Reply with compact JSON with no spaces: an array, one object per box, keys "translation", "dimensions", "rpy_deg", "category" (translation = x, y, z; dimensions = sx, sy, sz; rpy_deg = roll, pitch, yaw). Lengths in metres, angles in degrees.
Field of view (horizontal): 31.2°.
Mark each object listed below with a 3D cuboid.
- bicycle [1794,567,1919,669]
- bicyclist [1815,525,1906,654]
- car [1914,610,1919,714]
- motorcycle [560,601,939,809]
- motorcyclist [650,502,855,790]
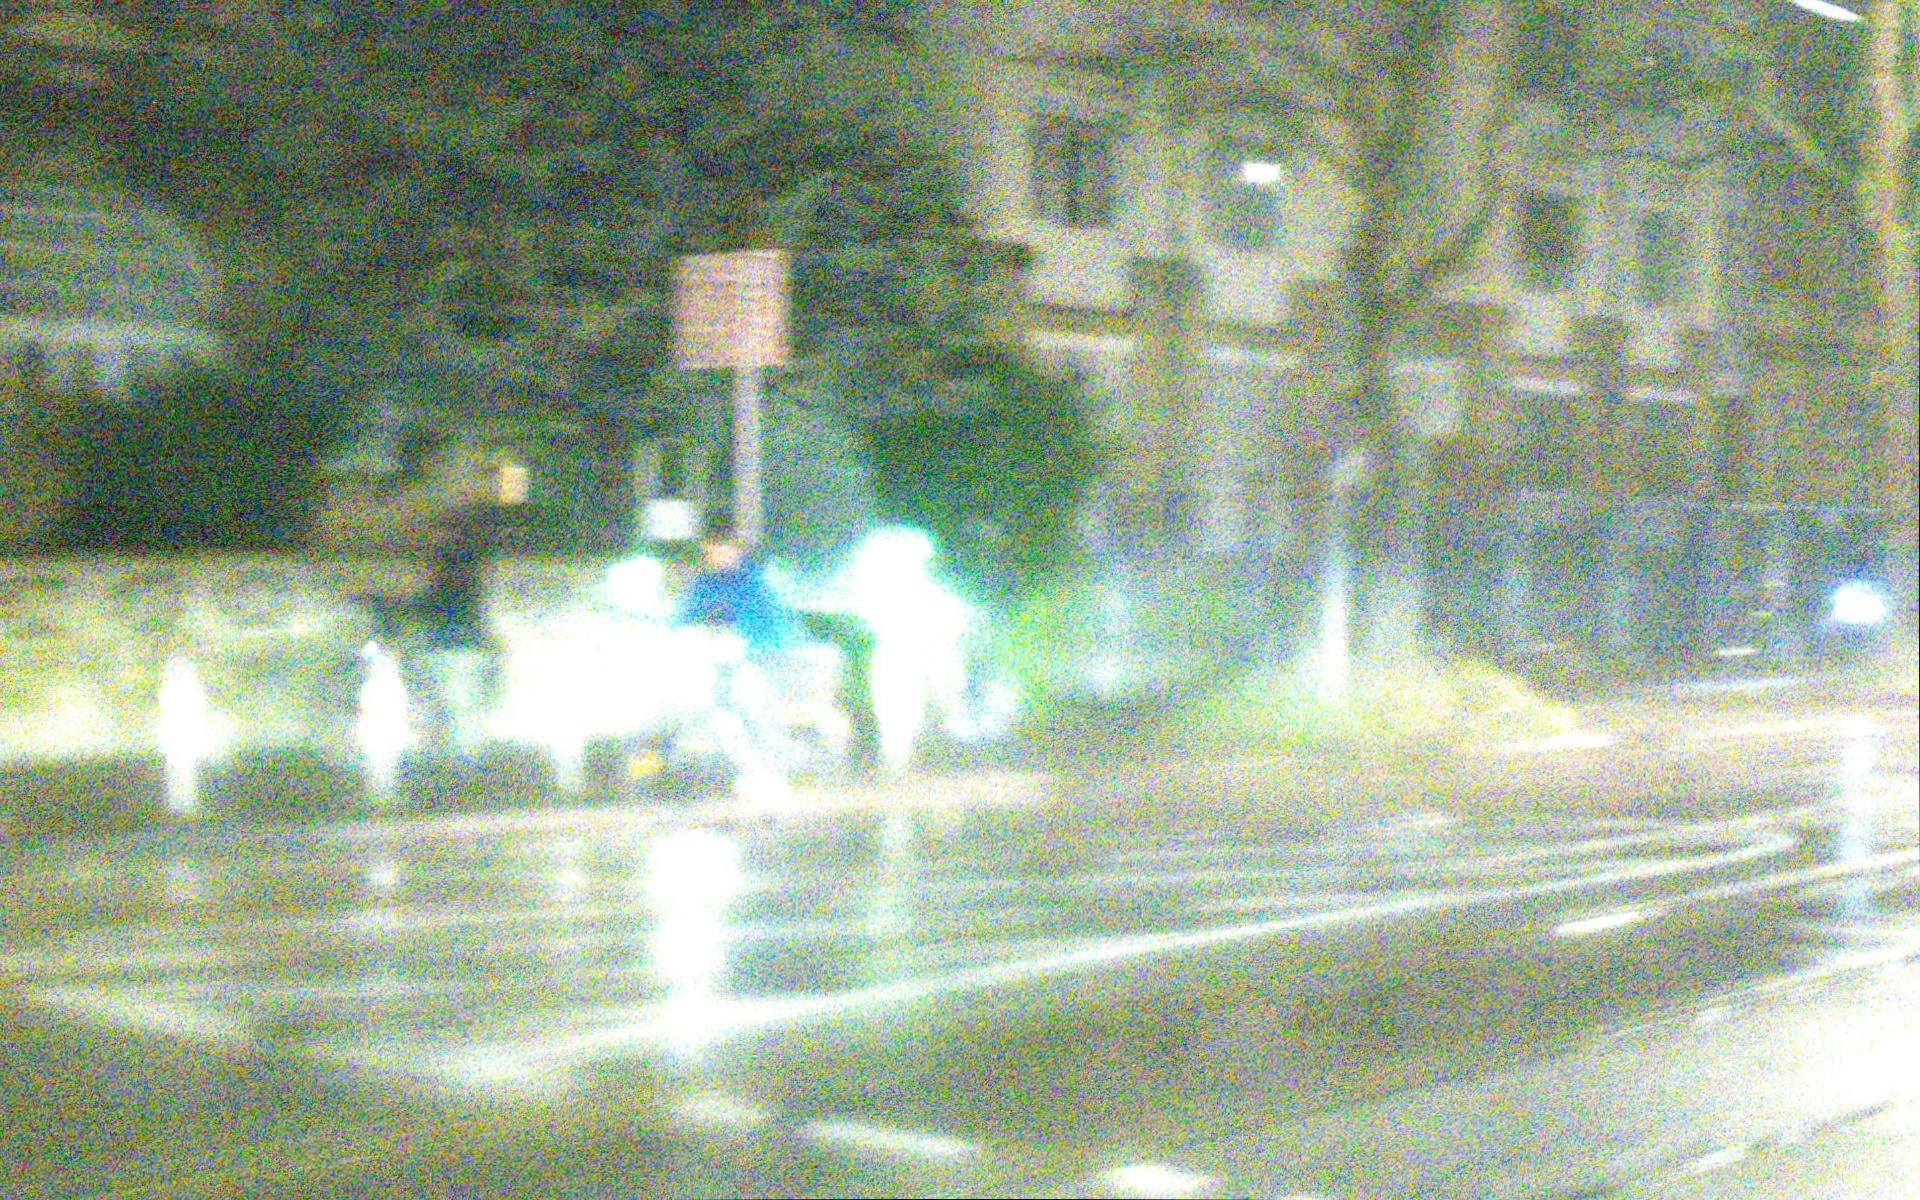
[{"translation":[10.517,0.218,40.221],"dimensions":[0.656,1.137,1.893],"rpy_deg":[4,2,40],"category":"bicycle"},{"translation":[10.534,-0.123,40.216],"dimensions":[0.656,1.460,0.866],"rpy_deg":[4,2,40],"category":"bicyclist"},{"translation":[13.224,0.396,40.444],"dimensions":[1.998,1.819,5.298],"rpy_deg":[5,4,36],"category":"car"},{"translation":[-1.276,0.627,21.197],"dimensions":[2.318,1.226,0.710],"rpy_deg":[0,-1,-37],"category":"motorcycle"},{"translation":[-1.277,0.282,21.208],"dimensions":[1.025,1.725,0.710],"rpy_deg":[0,-1,-37],"category":"motorcyclist"}]
